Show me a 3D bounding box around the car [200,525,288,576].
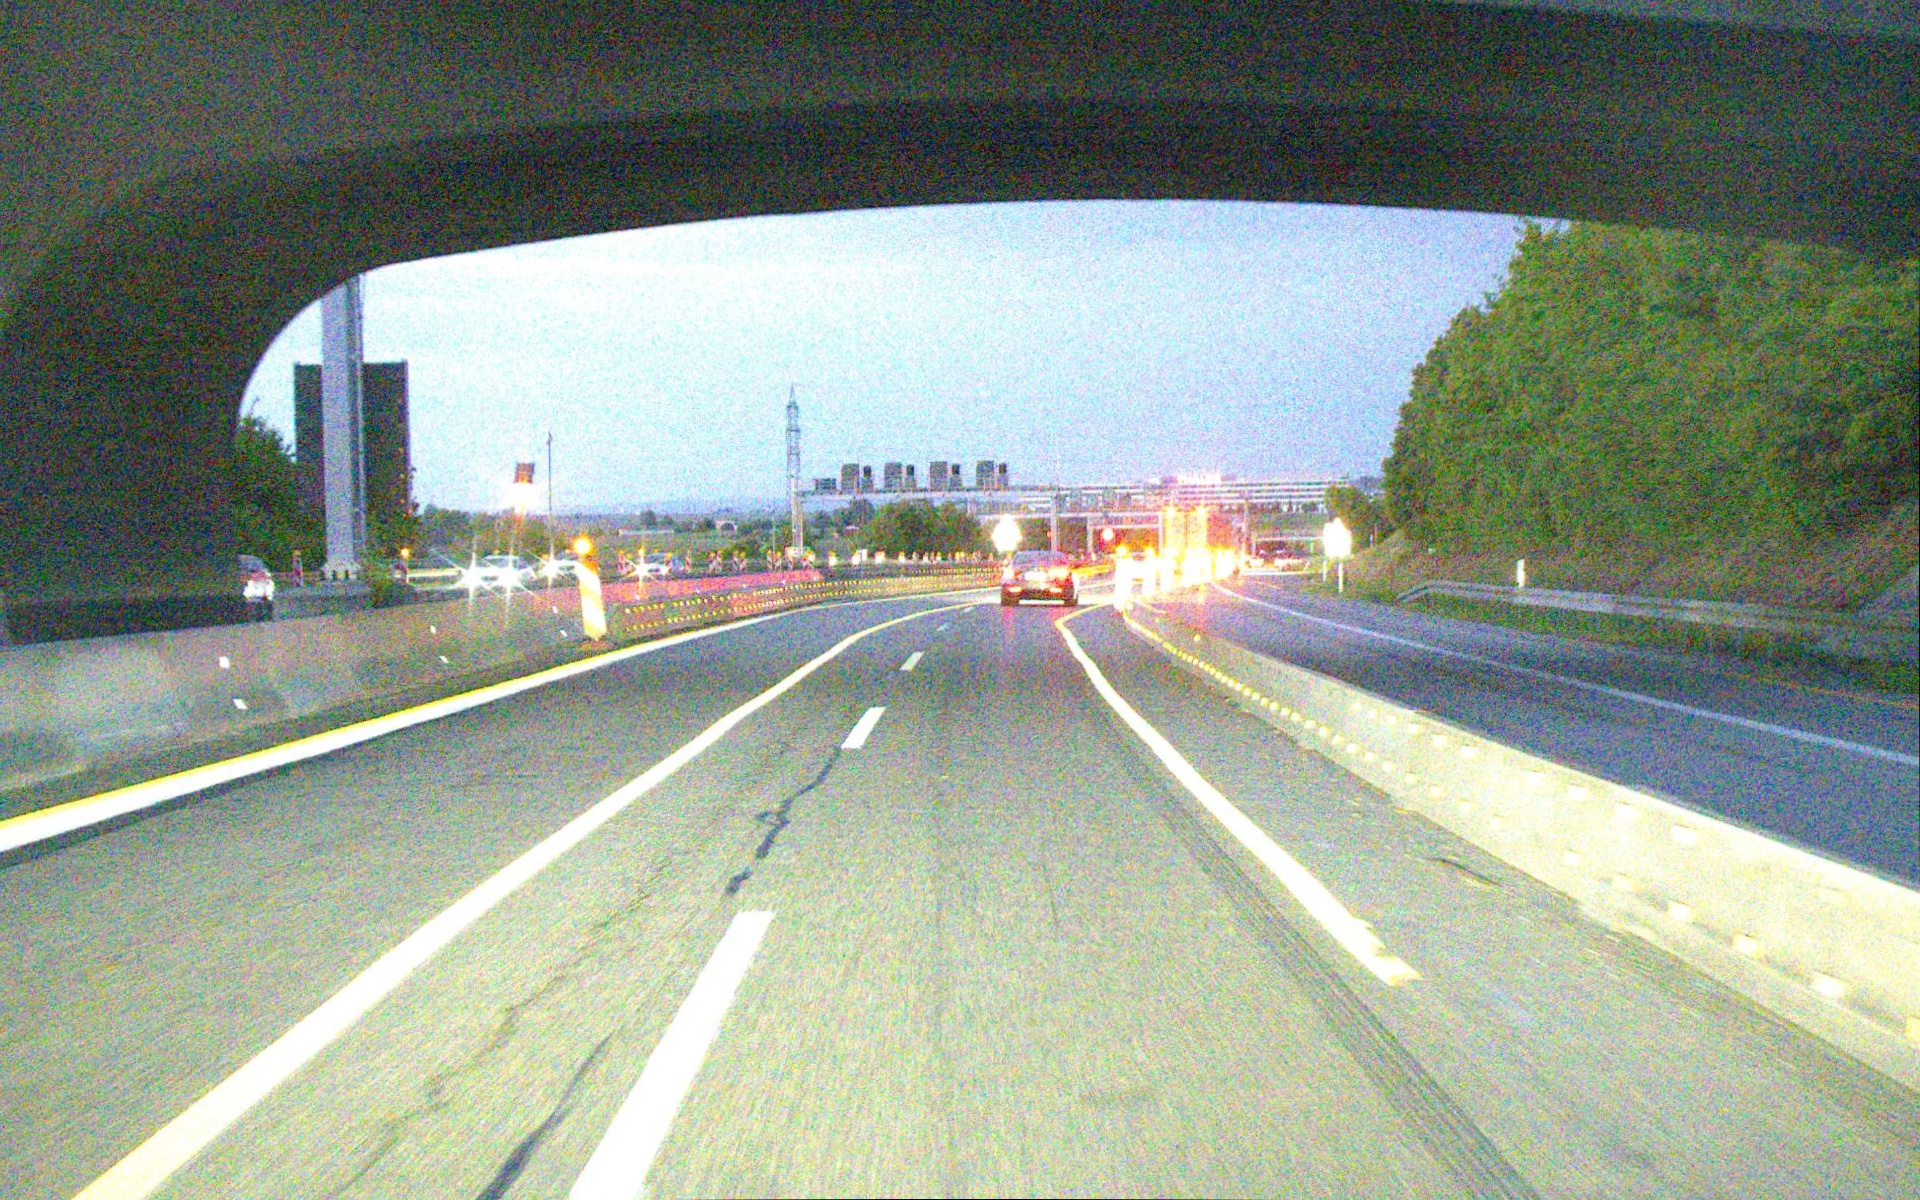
[{"bbox_3d":[-21.734,-1.500,104.463,1.703,1.450,3.930,2,1,2],"label":"car"}]

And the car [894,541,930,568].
[{"bbox_3d":[-3.170,-2.990,227.690,1.994,1.708,3.999,2,1,5],"label":"car"}]

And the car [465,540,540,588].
[{"bbox_3d":[-16.750,-1.317,126.109,1.831,1.655,4.841,2,1,3],"label":"car"}]

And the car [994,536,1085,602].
[{"bbox_3d":[2.035,-0.813,88.898,2.265,1.616,4.000,1,1,1],"label":"car"}]

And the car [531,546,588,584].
[{"bbox_3d":[-18.797,-1.627,161.524,1.907,1.709,3.943,2,1,4],"label":"car"}]

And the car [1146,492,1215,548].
[{"bbox_3d":[13.984,-5.019,218.381,3.605,3.384,8.015,1,1,-1],"label":"car"}]

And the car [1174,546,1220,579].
[{"bbox_3d":[10.764,-1.693,156.238,1.972,1.432,4.000,2,1,2],"label":"car"}]
